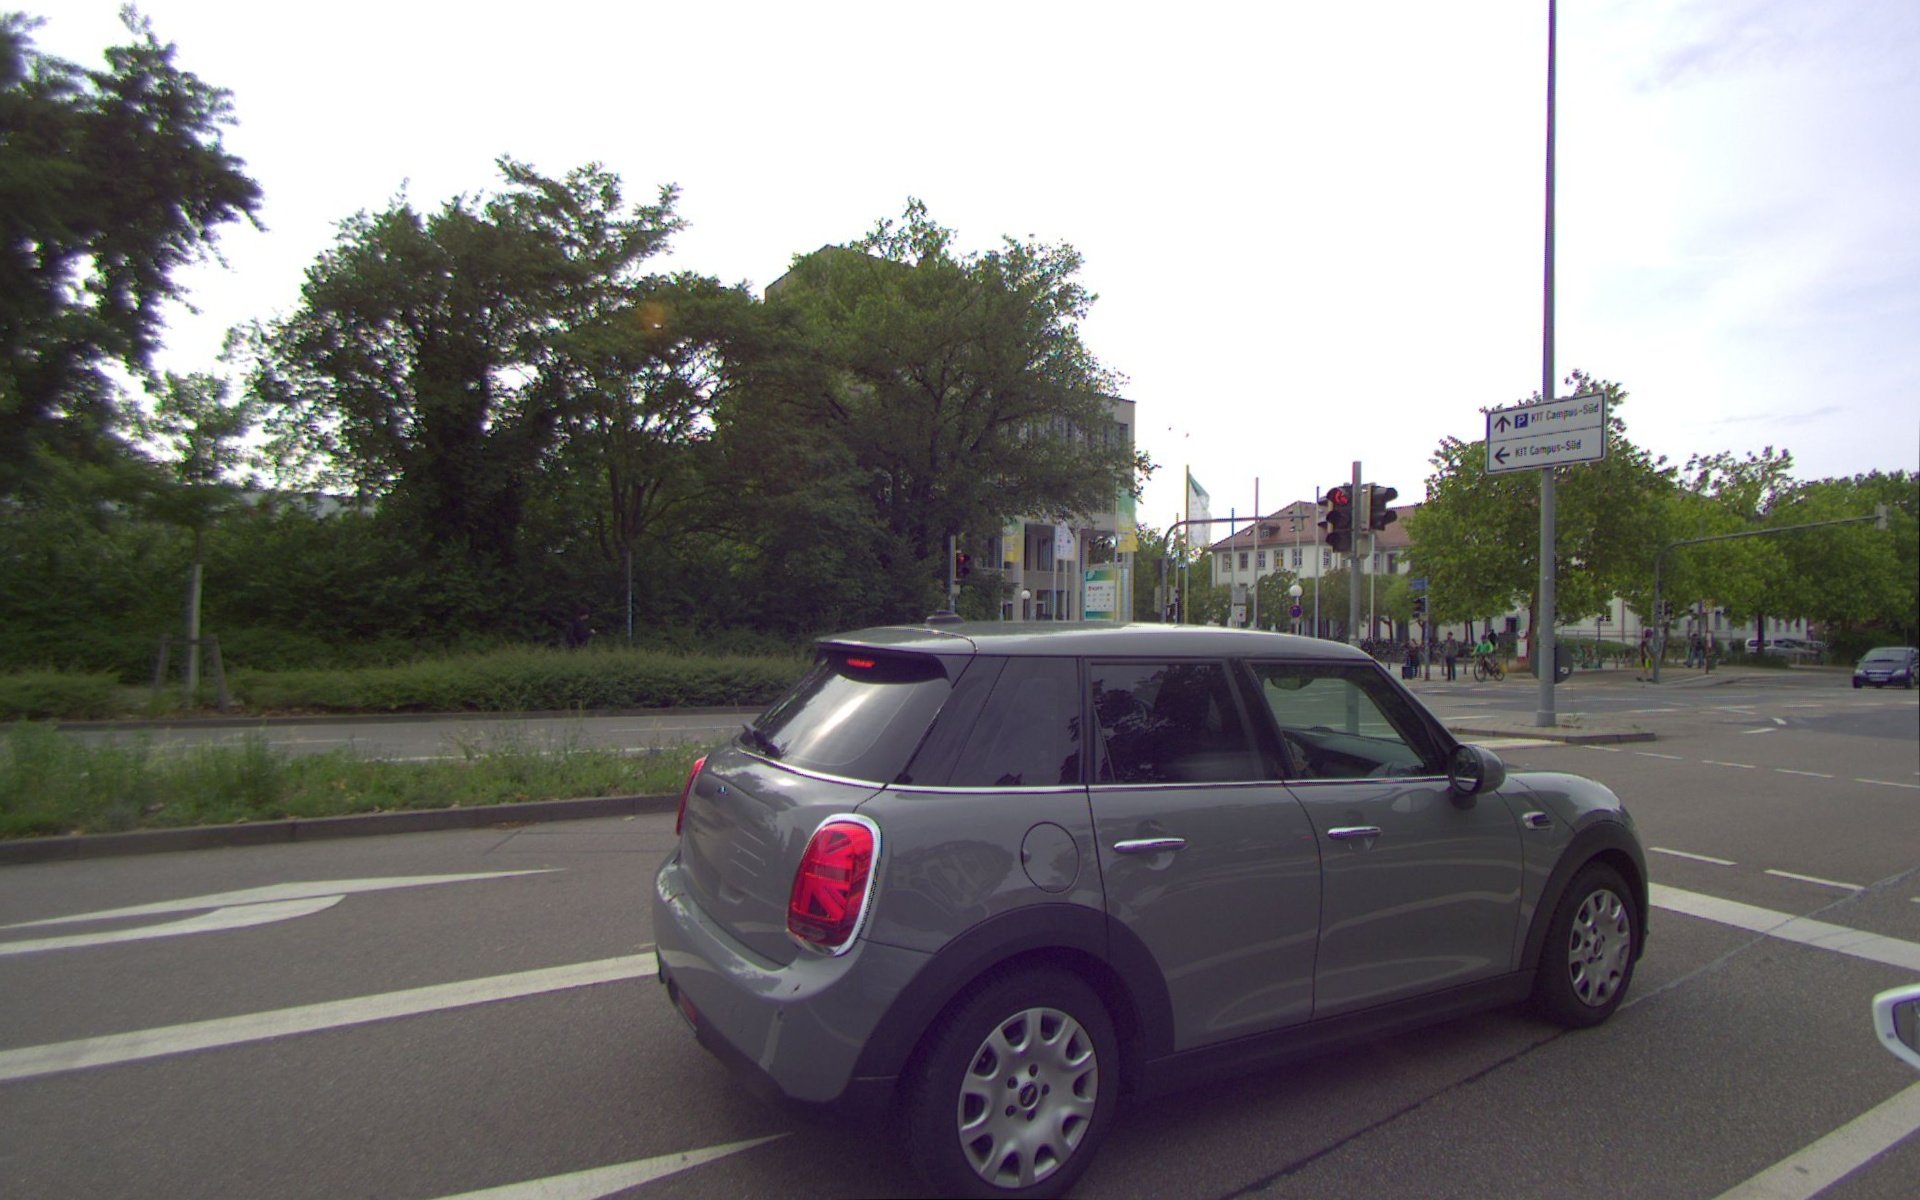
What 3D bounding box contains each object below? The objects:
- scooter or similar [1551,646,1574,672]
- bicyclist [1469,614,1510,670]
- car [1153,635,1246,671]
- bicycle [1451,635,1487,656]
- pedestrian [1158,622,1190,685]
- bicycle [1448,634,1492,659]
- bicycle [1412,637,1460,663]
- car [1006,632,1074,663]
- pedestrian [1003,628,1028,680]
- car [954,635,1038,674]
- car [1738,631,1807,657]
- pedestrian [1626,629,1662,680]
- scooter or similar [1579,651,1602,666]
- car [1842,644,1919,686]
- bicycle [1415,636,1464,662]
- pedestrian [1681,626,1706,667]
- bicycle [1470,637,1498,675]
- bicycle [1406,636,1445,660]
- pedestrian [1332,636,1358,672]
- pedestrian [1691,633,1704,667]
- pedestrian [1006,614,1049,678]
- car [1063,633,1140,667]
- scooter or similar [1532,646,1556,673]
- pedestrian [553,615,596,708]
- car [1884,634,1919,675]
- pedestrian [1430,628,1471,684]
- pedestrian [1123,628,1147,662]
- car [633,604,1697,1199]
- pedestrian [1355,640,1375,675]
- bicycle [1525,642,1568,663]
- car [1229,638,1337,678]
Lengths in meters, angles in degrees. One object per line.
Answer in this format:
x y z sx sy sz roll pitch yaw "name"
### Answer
26.741 2.614 44.579 1.306 1.155 0.358 2 -2 -34 "scooter or similar"
20.306 1.590 38.496 1.165 2.040 1.277 2 0 37 "bicyclist"
11.437 2.506 48.184 1.982 1.491 3.958 2 0 -37 "car"
38.724 3.451 76.471 0.907 1.579 2.658 1 -2 -16 "bicycle"
7.158 1.782 33.587 0.844 2.086 0.662 1 -1 -34 "pedestrian"
33.081 3.015 65.172 0.916 1.579 2.421 2 -2 -44 "bicycle"
29.460 3.081 62.232 0.774 1.579 2.637 2 -2 -39 "bicycle"
4.590 2.726 58.209 1.835 1.706 3.961 2 -2 -35 "car"
1.760 1.701 31.923 0.598 1.628 0.497 2 -1 -42 "pedestrian"
1.492 2.270 42.634 1.844 1.469 3.562 2 -1 -34 "car"
58.681 3.159 72.551 1.636 1.623 3.561 2 0 -35 "car"
27.627 2.196 40.574 1.000 2.040 0.888 2 -2 -36 "pedestrian"
30.760 2.845 49.012 1.274 0.703 0.404 2 0 -31 "scooter or similar"
35.842 2.469 38.610 3.654 1.483 1.844 2 -2 -30 "car"
30.518 3.111 63.957 0.916 1.579 2.633 2 -2 -43 "bicycle"
37.147 2.341 50.899 0.919 2.040 0.795 2 0 -40 "pedestrian"
20.213 2.136 38.721 0.597 1.351 2.303 2 0 37 "bicycle"
32.072 3.301 69.295 0.907 1.579 2.658 1 -2 -16 "bicycle"
17.018 2.380 44.377 0.812 1.533 0.971 2 0 37 "pedestrian"
38.558 2.609 52.521 0.430 1.762 0.415 2 0 -40 "pedestrian"
2.224 1.494 32.986 1.022 2.040 1.099 2 0 25 "pedestrian"
7.562 2.656 53.988 1.980 1.601 3.961 2 0 -35 "car"
25.403 2.570 43.695 1.306 1.155 0.358 2 -2 -34 "scooter or similar"
-7.388 1.165 19.241 0.645 1.717 0.586 2 0 -31 "pedestrian"
40.849 2.276 42.036 3.949 1.641 1.986 2 -2 -28 "car"
18.807 2.126 38.509 1.165 2.040 1.138 2 0 37 "pedestrian"
10.685 2.748 61.283 1.007 2.040 0.996 2 -2 -34 "pedestrian"
0.870 0.745 3.655 3.662 1.335 1.613 2 -2 -30 "car"
17.697 2.492 43.907 0.687 1.447 0.999 2 0 28 "pedestrian"
33.658 2.996 57.655 2.005 1.168 0.718 -1 -2 39 "bicycle"
14.182 2.536 44.279 1.982 1.491 4.111 2 0 -37 "car"
